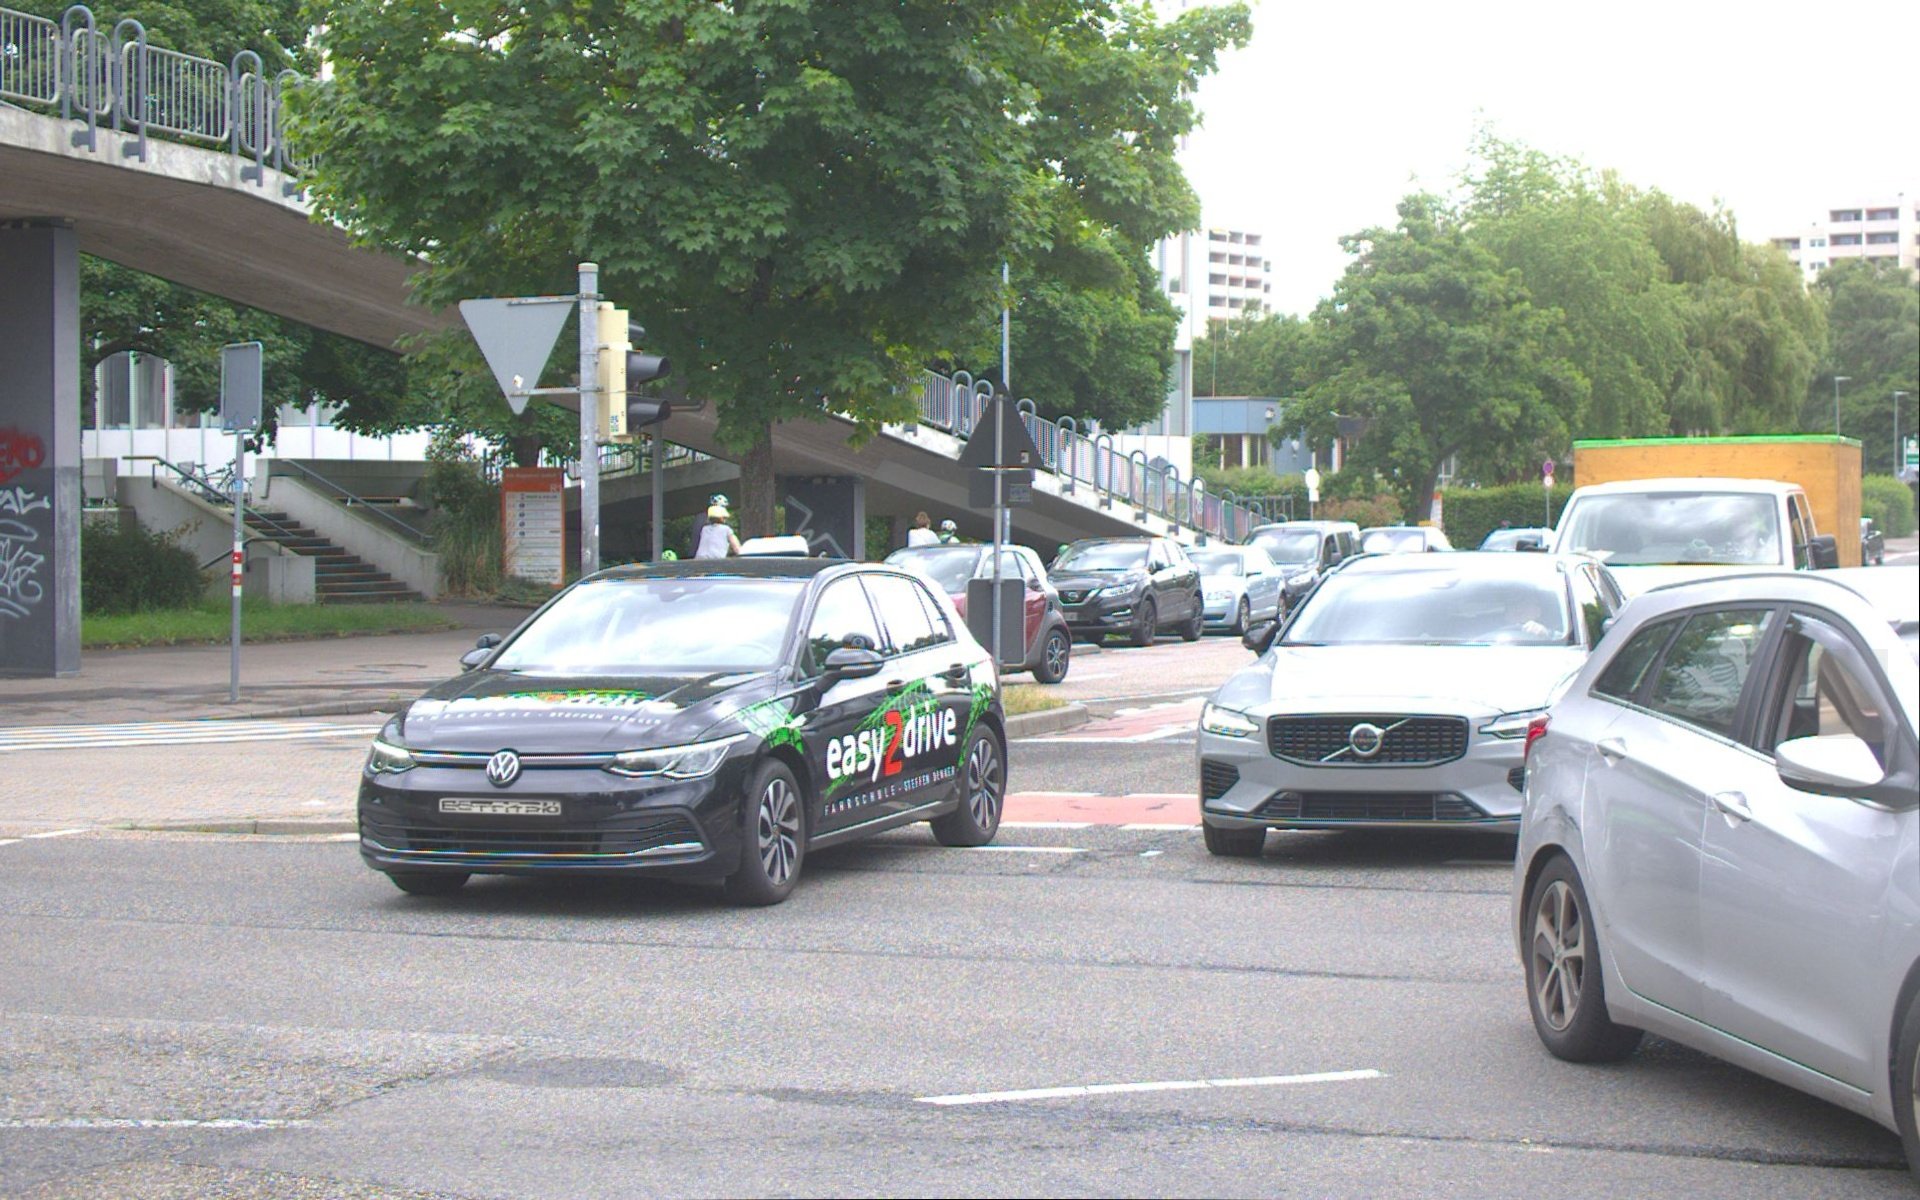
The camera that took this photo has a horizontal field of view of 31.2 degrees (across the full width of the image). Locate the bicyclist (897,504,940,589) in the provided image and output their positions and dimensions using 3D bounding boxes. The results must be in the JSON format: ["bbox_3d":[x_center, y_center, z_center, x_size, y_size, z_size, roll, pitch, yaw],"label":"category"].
[{"bbox_3d":[-0.587,-0.764,49.073,0.405,1.177,0.377,7,4,19],"label":"bicyclist"}]

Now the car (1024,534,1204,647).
[{"bbox_3d":[2.321,-0.172,50.904,1.673,1.546,3.889,1,2,18],"label":"car"}]

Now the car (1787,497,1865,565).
[{"bbox_3d":[26.422,-2.122,104.815,1.995,2.006,3.997,1,2,18],"label":"car"}]

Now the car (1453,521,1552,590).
[{"bbox_3d":[12.688,-1.057,80.248,1.673,1.546,3.997,1,2,18],"label":"car"}]

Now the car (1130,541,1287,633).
[{"bbox_3d":[4.090,-0.243,56.103,1.673,1.382,3.892,1,2,18],"label":"car"}]

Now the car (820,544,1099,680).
[{"bbox_3d":[0.026,0.092,36.568,1.561,1.341,2.966,1,2,34],"label":"car"}]

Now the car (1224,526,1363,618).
[{"bbox_3d":[5.962,-0.529,61.088,1.673,1.546,3.759,1,2,18],"label":"car"}]

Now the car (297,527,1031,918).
[{"bbox_3d":[-1.147,0.423,15.574,1.771,1.472,4.386,1,2,18],"label":"car"}]

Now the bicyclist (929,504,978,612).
[{"bbox_3d":[-0.100,-0.646,52.858,0.566,1.639,0.531,1,1,27],"label":"bicyclist"}]

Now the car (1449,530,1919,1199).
[{"bbox_3d":[2.810,0.600,8.712,1.788,1.514,4.327,0,2,-11],"label":"car"}]

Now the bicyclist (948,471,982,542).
[{"bbox_3d":[0.081,-1.601,59.234,0.431,1.213,0.567,1,1,17],"label":"bicyclist"}]

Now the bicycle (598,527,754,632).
[{"bbox_3d":[-3.817,-0.304,46.550,0.857,1.310,3.227,1,2,19],"label":"bicycle"}]

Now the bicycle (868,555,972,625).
[{"bbox_3d":[-0.558,-0.155,49.329,0.763,0.946,1.951,1,2,23],"label":"bicycle"}]

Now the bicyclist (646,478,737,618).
[{"bbox_3d":[-3.667,-0.726,47.024,0.857,1.886,1.126,1,2,19],"label":"bicyclist"}]

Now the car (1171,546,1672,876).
[{"bbox_3d":[2.485,0.461,17.418,1.898,1.415,4.733,1,1,15],"label":"car"}]

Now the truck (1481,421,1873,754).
[{"bbox_3d":[5.496,-0.177,25.703,2.157,2.191,5.835,1,2,19],"label":"truck"}]

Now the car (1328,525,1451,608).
[{"bbox_3d":[8.508,-0.688,67.866,1.673,1.546,3.997,1,2,18],"label":"car"}]
